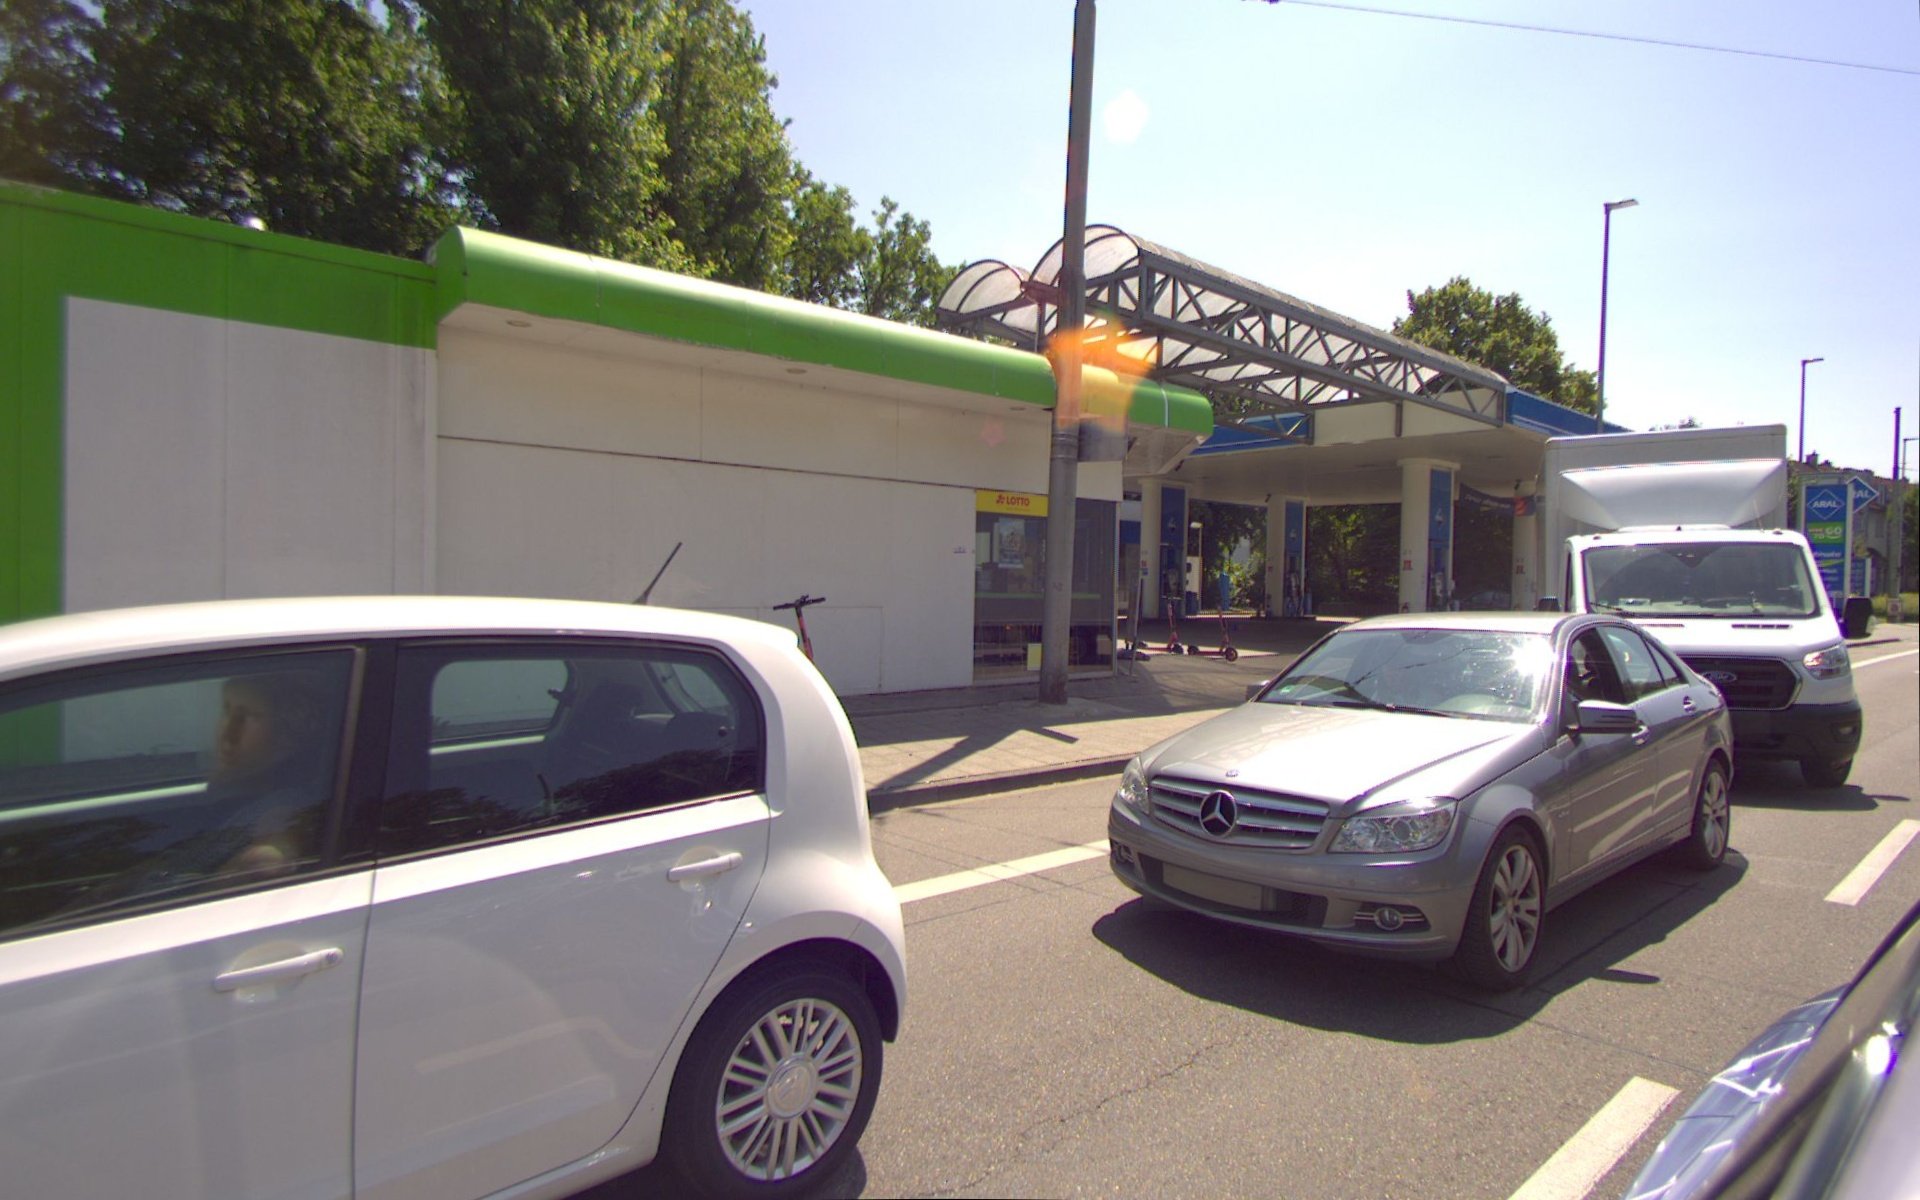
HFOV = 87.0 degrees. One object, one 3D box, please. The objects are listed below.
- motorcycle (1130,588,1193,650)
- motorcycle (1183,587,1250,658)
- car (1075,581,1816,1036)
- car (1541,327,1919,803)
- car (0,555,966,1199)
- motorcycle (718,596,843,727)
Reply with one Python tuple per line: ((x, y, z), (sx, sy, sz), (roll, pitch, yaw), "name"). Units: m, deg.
((3.959, 0.370, 19.924), (0.389, 1.127, 1.156), (2, 2, -41), "motorcycle")
((4.797, 0.410, 18.996), (0.357, 1.225, 1.156), (2, 2, -41), "motorcycle")
((3.073, 0.701, 5.658), (5.206, 1.492, 1.716), (0, -1, -40), "car")
((7.959, -0.263, 11.470), (2.211, 3.378, 8.546), (-1, 0, 29), "car")
((-1.785, 0.663, 2.318), (3.374, 1.466, 1.612), (1, 0, -40), "car")
((-1.641, 0.541, 9.339), (1.098, 1.118, 0.253), (-1, 7, -40), "motorcycle")
